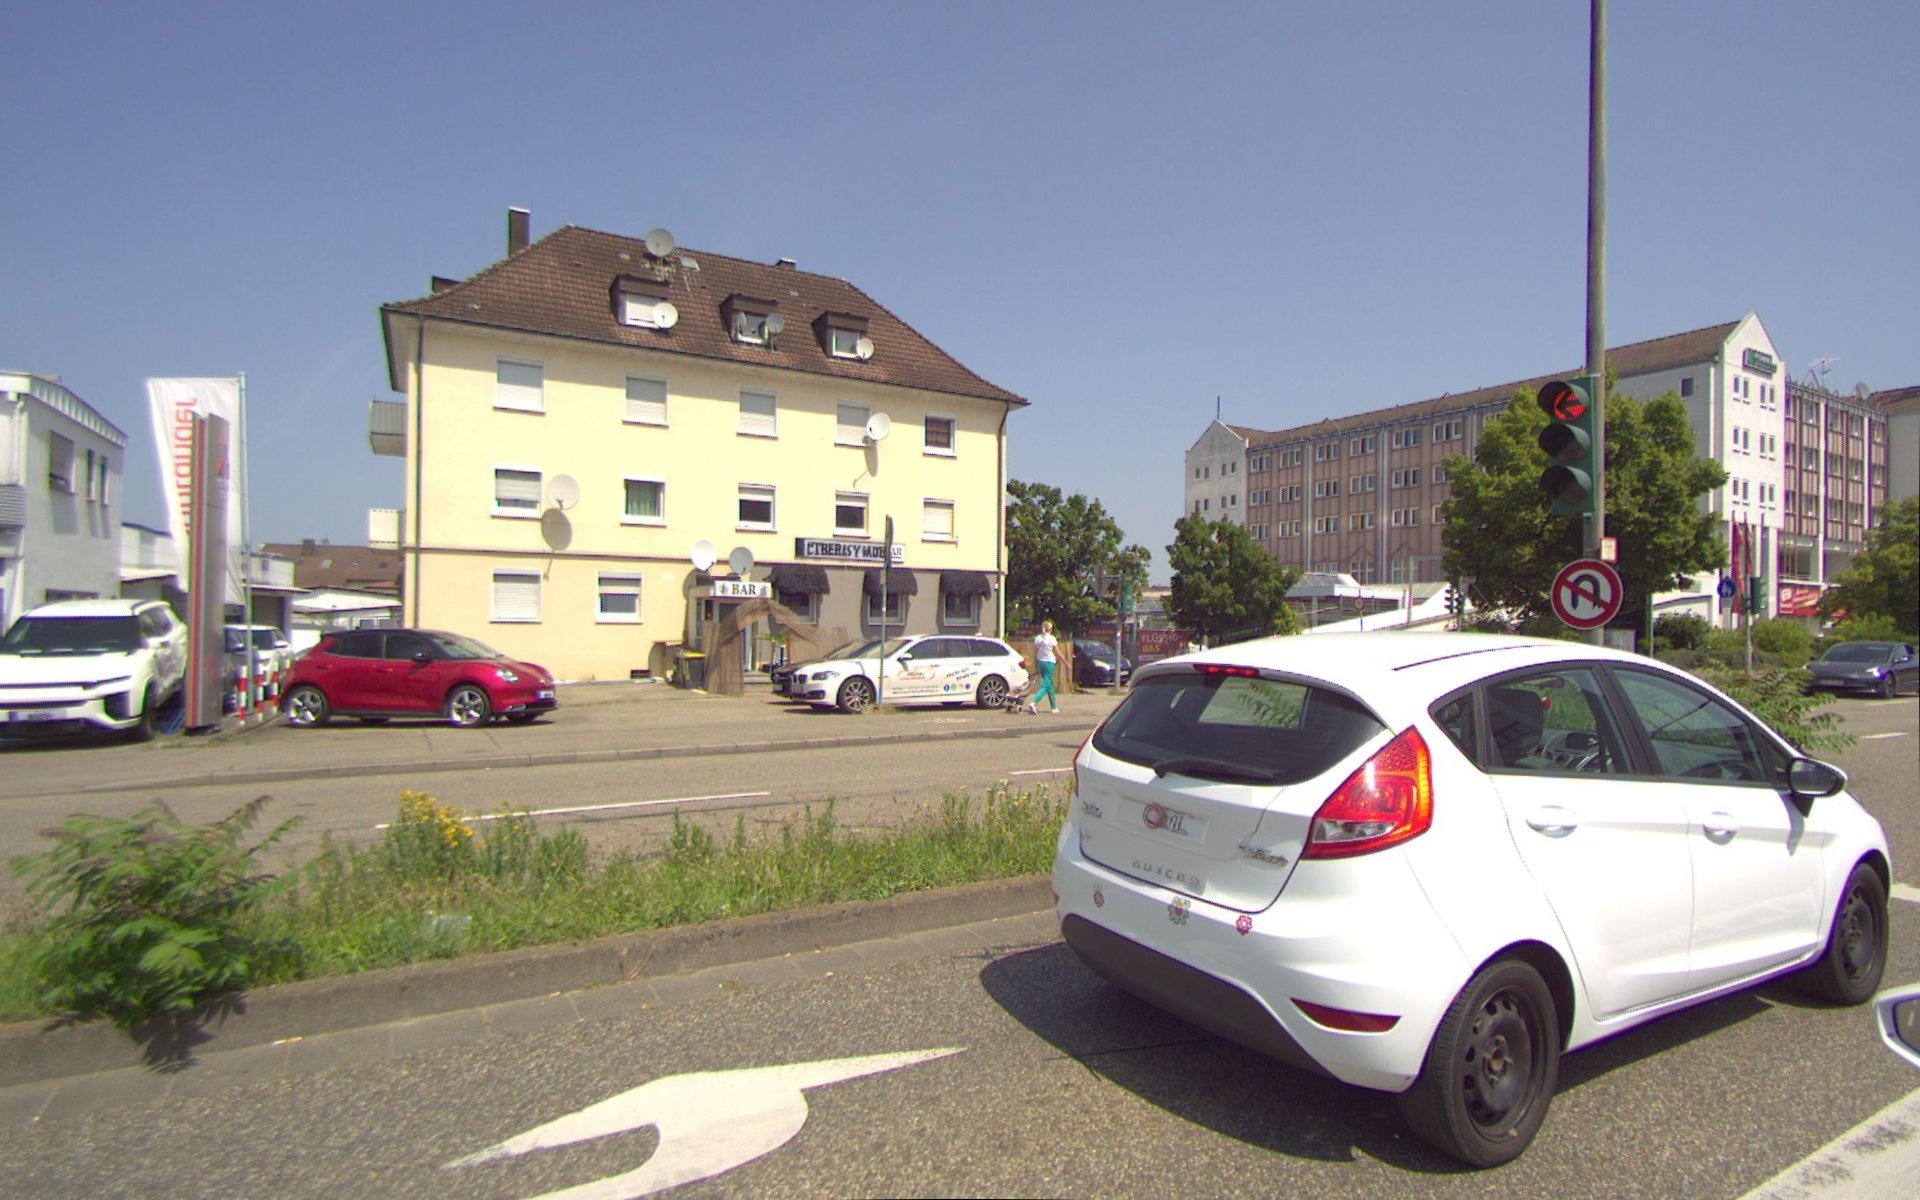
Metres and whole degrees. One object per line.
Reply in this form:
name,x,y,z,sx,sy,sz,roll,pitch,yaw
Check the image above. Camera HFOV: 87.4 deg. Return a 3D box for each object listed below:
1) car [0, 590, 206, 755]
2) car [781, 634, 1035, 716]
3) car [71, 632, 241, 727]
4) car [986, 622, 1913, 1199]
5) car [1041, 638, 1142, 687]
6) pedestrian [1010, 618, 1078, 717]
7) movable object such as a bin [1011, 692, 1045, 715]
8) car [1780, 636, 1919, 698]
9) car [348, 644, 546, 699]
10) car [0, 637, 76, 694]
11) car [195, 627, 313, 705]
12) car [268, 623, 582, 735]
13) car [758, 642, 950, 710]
car,-12.122,0.865,14.283,1.740,1.732,4.522,1,3,-31
car,-0.973,1.401,19.746,4.701,1.429,1.768,1,-2,-29
car,-14.726,1.373,18.641,1.844,1.550,3.968,1,-2,-30
car,2.098,0.831,4.119,3.667,1.453,1.681,1,-1,-30
car,4.685,2.217,36.380,1.844,1.633,3.976,1,-2,-25
pedestrian,1.562,1.237,18.714,1.020,1.770,0.738,1,-1,-28
movable object such as a bin,1.261,1.908,18.596,0.500,0.377,0.415,1,-2,-29
car,23.750,1.722,26.577,4.454,1.505,1.982,2,-2,-34
car,-12.385,1.720,24.439,3.923,1.268,1.650,0,-2,-4
car,-24.087,1.610,24.822,3.097,1.381,1.316,1,-2,-29
car,-16.228,1.443,23.280,1.844,1.636,3.968,1,-2,-30
car,-8.527,1.221,16.241,4.094,1.664,1.841,0,-1,4
car,-2.341,1.633,22.471,3.957,1.369,1.722,1,-2,-33
